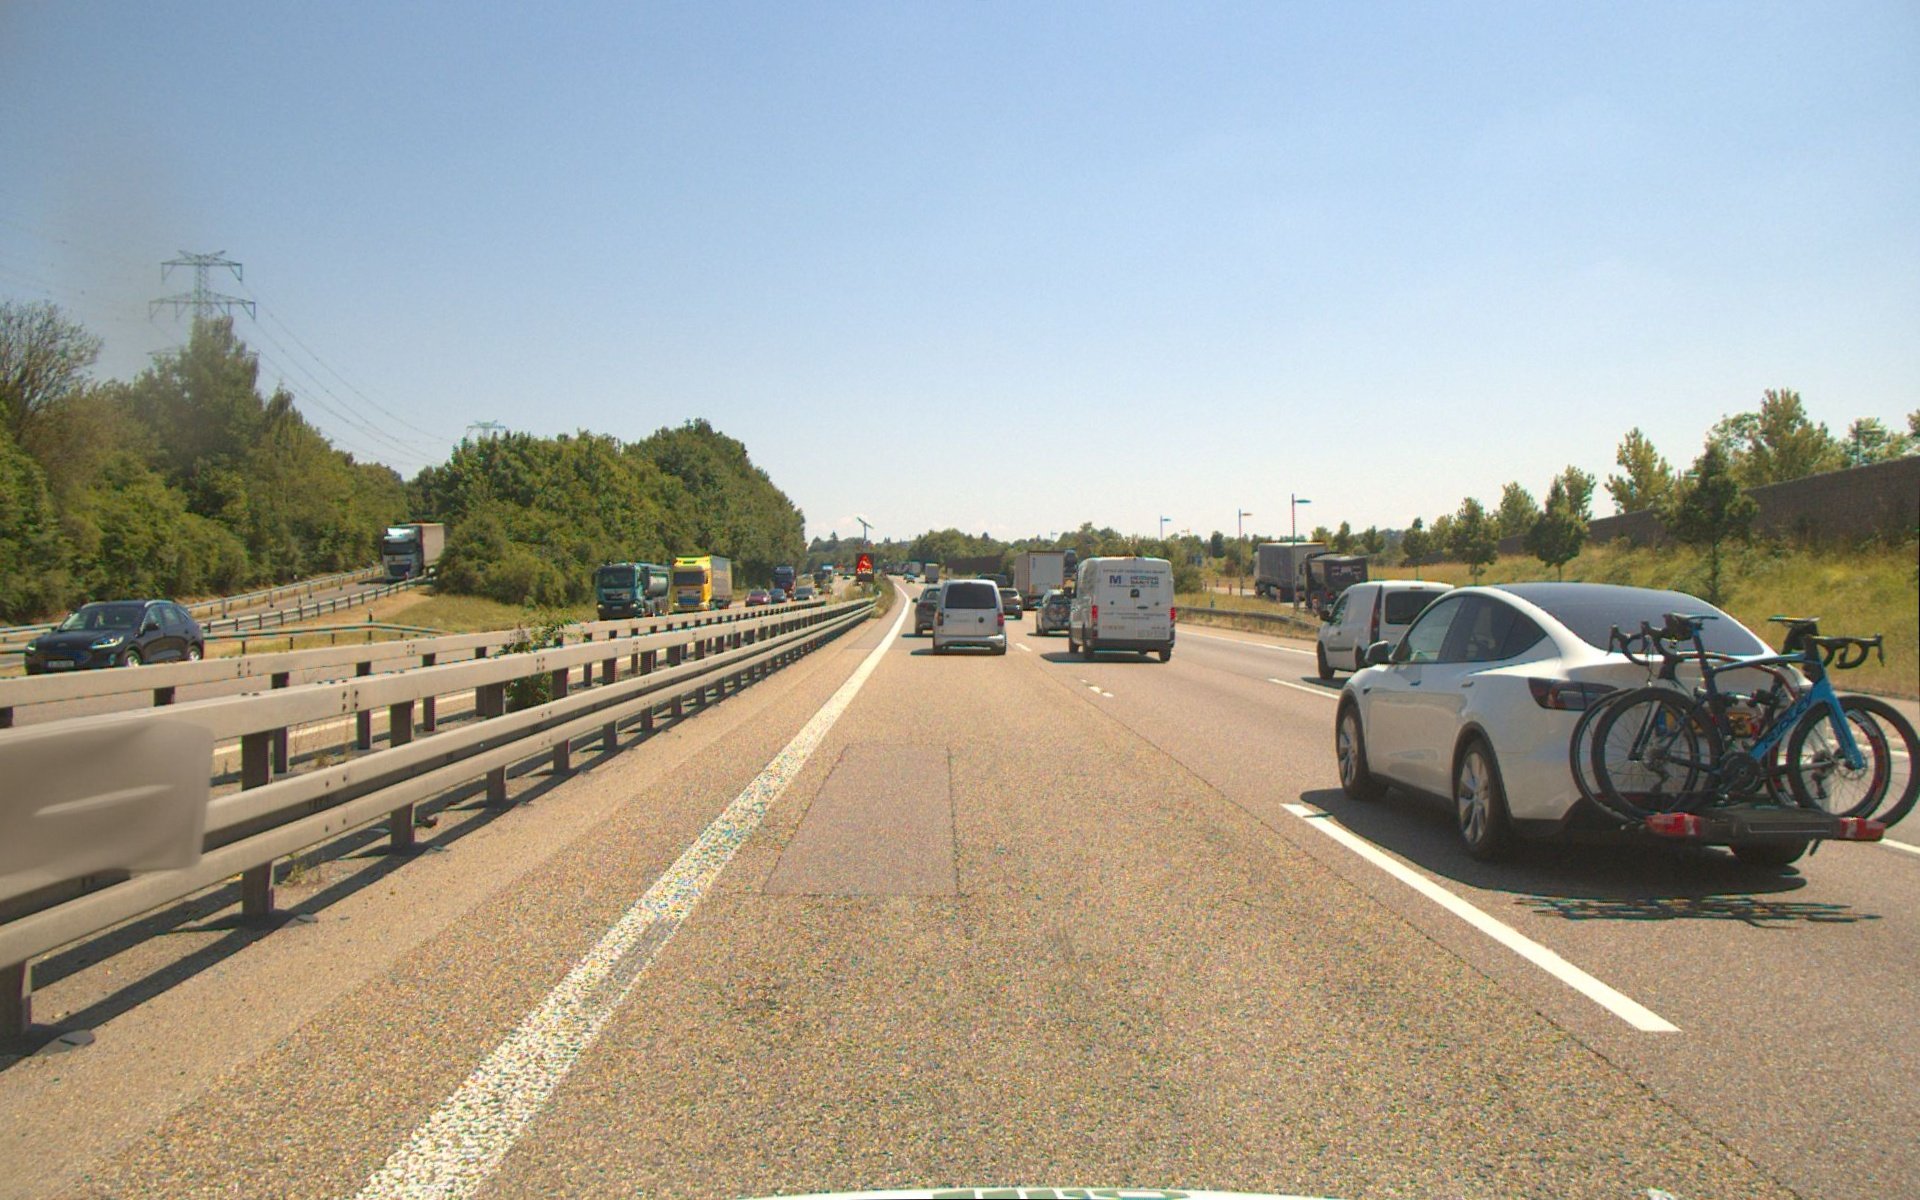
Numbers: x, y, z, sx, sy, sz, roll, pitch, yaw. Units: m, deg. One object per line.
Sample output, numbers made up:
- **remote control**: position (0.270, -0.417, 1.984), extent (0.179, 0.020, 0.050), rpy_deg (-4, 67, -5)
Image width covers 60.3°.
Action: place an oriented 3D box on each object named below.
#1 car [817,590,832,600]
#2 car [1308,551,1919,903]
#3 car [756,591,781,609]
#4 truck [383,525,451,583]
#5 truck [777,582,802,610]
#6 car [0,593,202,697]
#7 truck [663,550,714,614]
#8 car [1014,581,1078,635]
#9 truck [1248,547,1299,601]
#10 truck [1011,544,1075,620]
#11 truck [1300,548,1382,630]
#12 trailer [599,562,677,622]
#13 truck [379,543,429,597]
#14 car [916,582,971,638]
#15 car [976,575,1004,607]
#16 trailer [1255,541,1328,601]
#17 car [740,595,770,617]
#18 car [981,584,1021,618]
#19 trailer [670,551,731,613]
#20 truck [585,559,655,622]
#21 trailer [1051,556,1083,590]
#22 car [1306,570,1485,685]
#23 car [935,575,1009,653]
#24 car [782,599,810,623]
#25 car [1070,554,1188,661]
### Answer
- **car**: position (-19.041, -0.665, 232.683), extent (1.734, 1.357, 4.919), rpy_deg (-1, 0, -2)
- **car**: position (3.908, 0.620, 10.820), extent (1.911, 1.665, 5.598), rpy_deg (1, 0, -2)
- **car**: position (-16.653, 0.008, 143.972), extent (1.677, 1.494, 4.146), rpy_deg (-2, 0, 0)
- **truck**: position (-43.217, -3.773, 132.170), extent (2.941, 4.416, 14.517), rpy_deg (0, 2, -9)
- **truck**: position (-21.959, -0.490, 213.078), extent (2.936, 3.621, 3.117), rpy_deg (0, 0, -2)
- **car**: position (-16.850, 0.829, 32.338), extent (2.114, 1.831, 4.510), rpy_deg (-2, 0, -3)
- **truck**: position (-19.160, -1.238, 116.880), extent (3.111, 4.417, 3.511), rpy_deg (0, 0, -3)
- **car**: position (2.898, 0.272, 56.498), extent (1.936, 1.763, 4.088), rpy_deg (-1, 0, -1)
- **truck**: position (25.002, -2.037, 132.101), extent (2.989, 4.154, 6.399), rpy_deg (1, 0, 2)
- **truck**: position (5.873, -1.219, 119.265), extent (3.711, 5.087, 12.516), rpy_deg (1, 0, -1)
- **truck**: position (20.988, -0.540, 91.798), extent (3.707, 4.154, 12.529), rpy_deg (1, 0, 10)
- **trailer**: position (-18.814, -0.467, 97.169), extent (2.855, 3.358, 9.707), rpy_deg (0, 0, -1)
- **truck**: position (-42.046, -2.325, 125.282), extent (2.890, 3.963, 4.315), rpy_deg (0, 2, -10)
- **car**: position (-0.511, 0.314, 54.047), extent (1.709, 1.731, 4.088), rpy_deg (-1, 0, 0)
- **car**: position (1.838, -0.525, 102.626), extent (1.640, 1.925, 4.088), rpy_deg (-1, 0, -1)
- **trailer**: position (24.747, -2.034, 124.238), extent (2.989, 4.154, 14.261), rpy_deg (1, 0, 2)
- **car**: position (-15.201, 0.436, 122.979), extent (1.746, 1.557, 4.383), rpy_deg (-3, 0, -2)
- **car**: position (2.079, 0.060, 84.798), extent (1.863, 1.701, 4.088), rpy_deg (-1, 0, -1)
- **trailer**: position (-19.550, -1.286, 125.530), extent (3.111, 4.417, 13.805), rpy_deg (0, 0, -3)
- **truck**: position (-18.672, -0.495, 91.151), extent (2.855, 3.358, 5.329), rpy_deg (0, 0, -1)
- **trailer**: position (15.012, -3.724, 233.776), extent (2.553, 4.332, 18.413), rpy_deg (1, 0, -2)
- **car**: position (7.633, 0.451, 29.436), extent (1.911, 1.870, 4.176), rpy_deg (-1, 0, -3)
- **car**: position (0.263, 0.333, 40.752), extent (1.709, 1.795, 4.088), rpy_deg (-1, 0, -1)
- **car**: position (-12.001, 0.792, 121.164), extent (1.746, 1.653, 3.999), rpy_deg (-1, 0, -1)
- **car**: position (3.860, 0.158, 38.798), extent (2.137, 2.293, 5.362), rpy_deg (1, 0, -1)
